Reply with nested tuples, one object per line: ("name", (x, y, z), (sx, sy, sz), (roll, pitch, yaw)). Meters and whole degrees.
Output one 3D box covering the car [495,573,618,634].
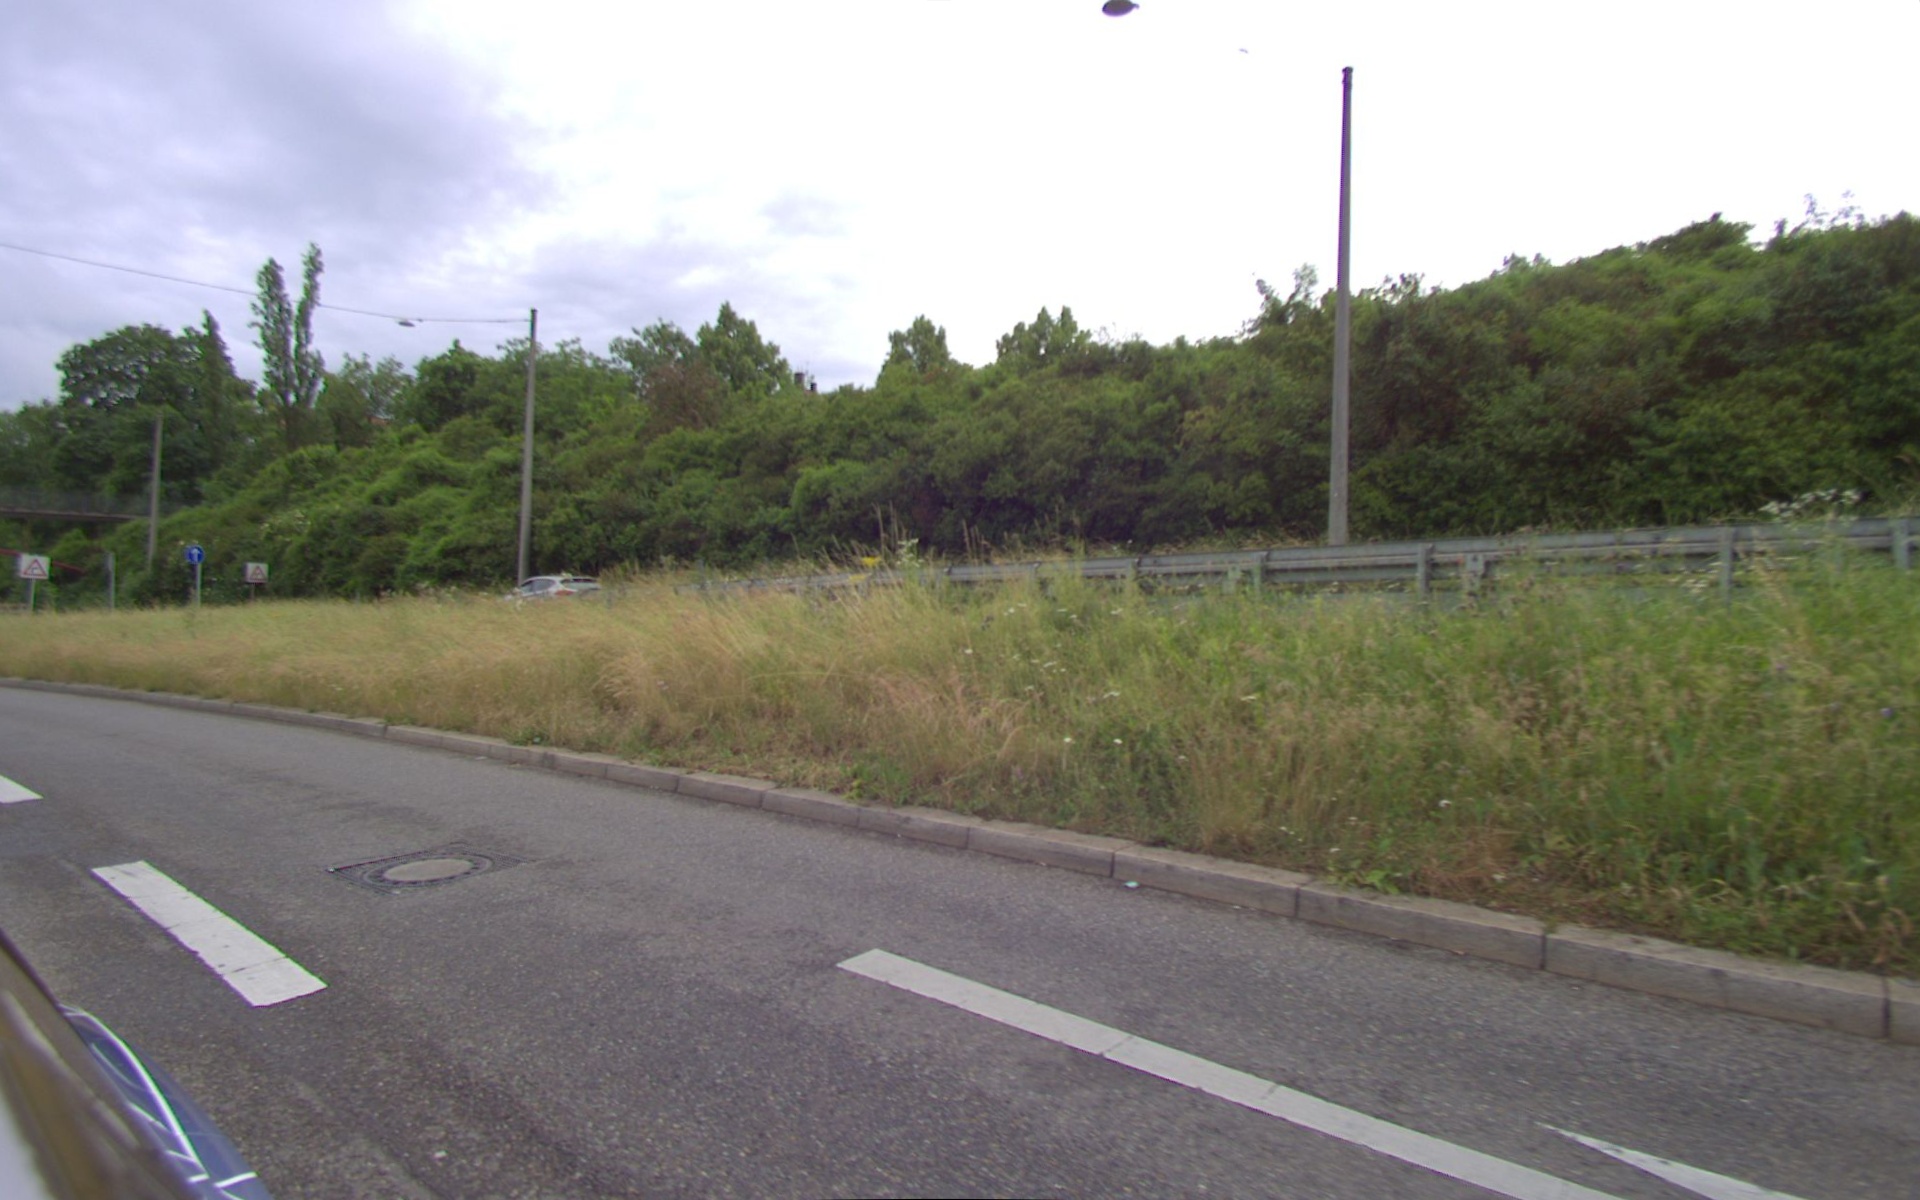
("car", (-11.749, 0.142, 29.411), (3.675, 1.529, 1.718), (-1, -7, 41))
